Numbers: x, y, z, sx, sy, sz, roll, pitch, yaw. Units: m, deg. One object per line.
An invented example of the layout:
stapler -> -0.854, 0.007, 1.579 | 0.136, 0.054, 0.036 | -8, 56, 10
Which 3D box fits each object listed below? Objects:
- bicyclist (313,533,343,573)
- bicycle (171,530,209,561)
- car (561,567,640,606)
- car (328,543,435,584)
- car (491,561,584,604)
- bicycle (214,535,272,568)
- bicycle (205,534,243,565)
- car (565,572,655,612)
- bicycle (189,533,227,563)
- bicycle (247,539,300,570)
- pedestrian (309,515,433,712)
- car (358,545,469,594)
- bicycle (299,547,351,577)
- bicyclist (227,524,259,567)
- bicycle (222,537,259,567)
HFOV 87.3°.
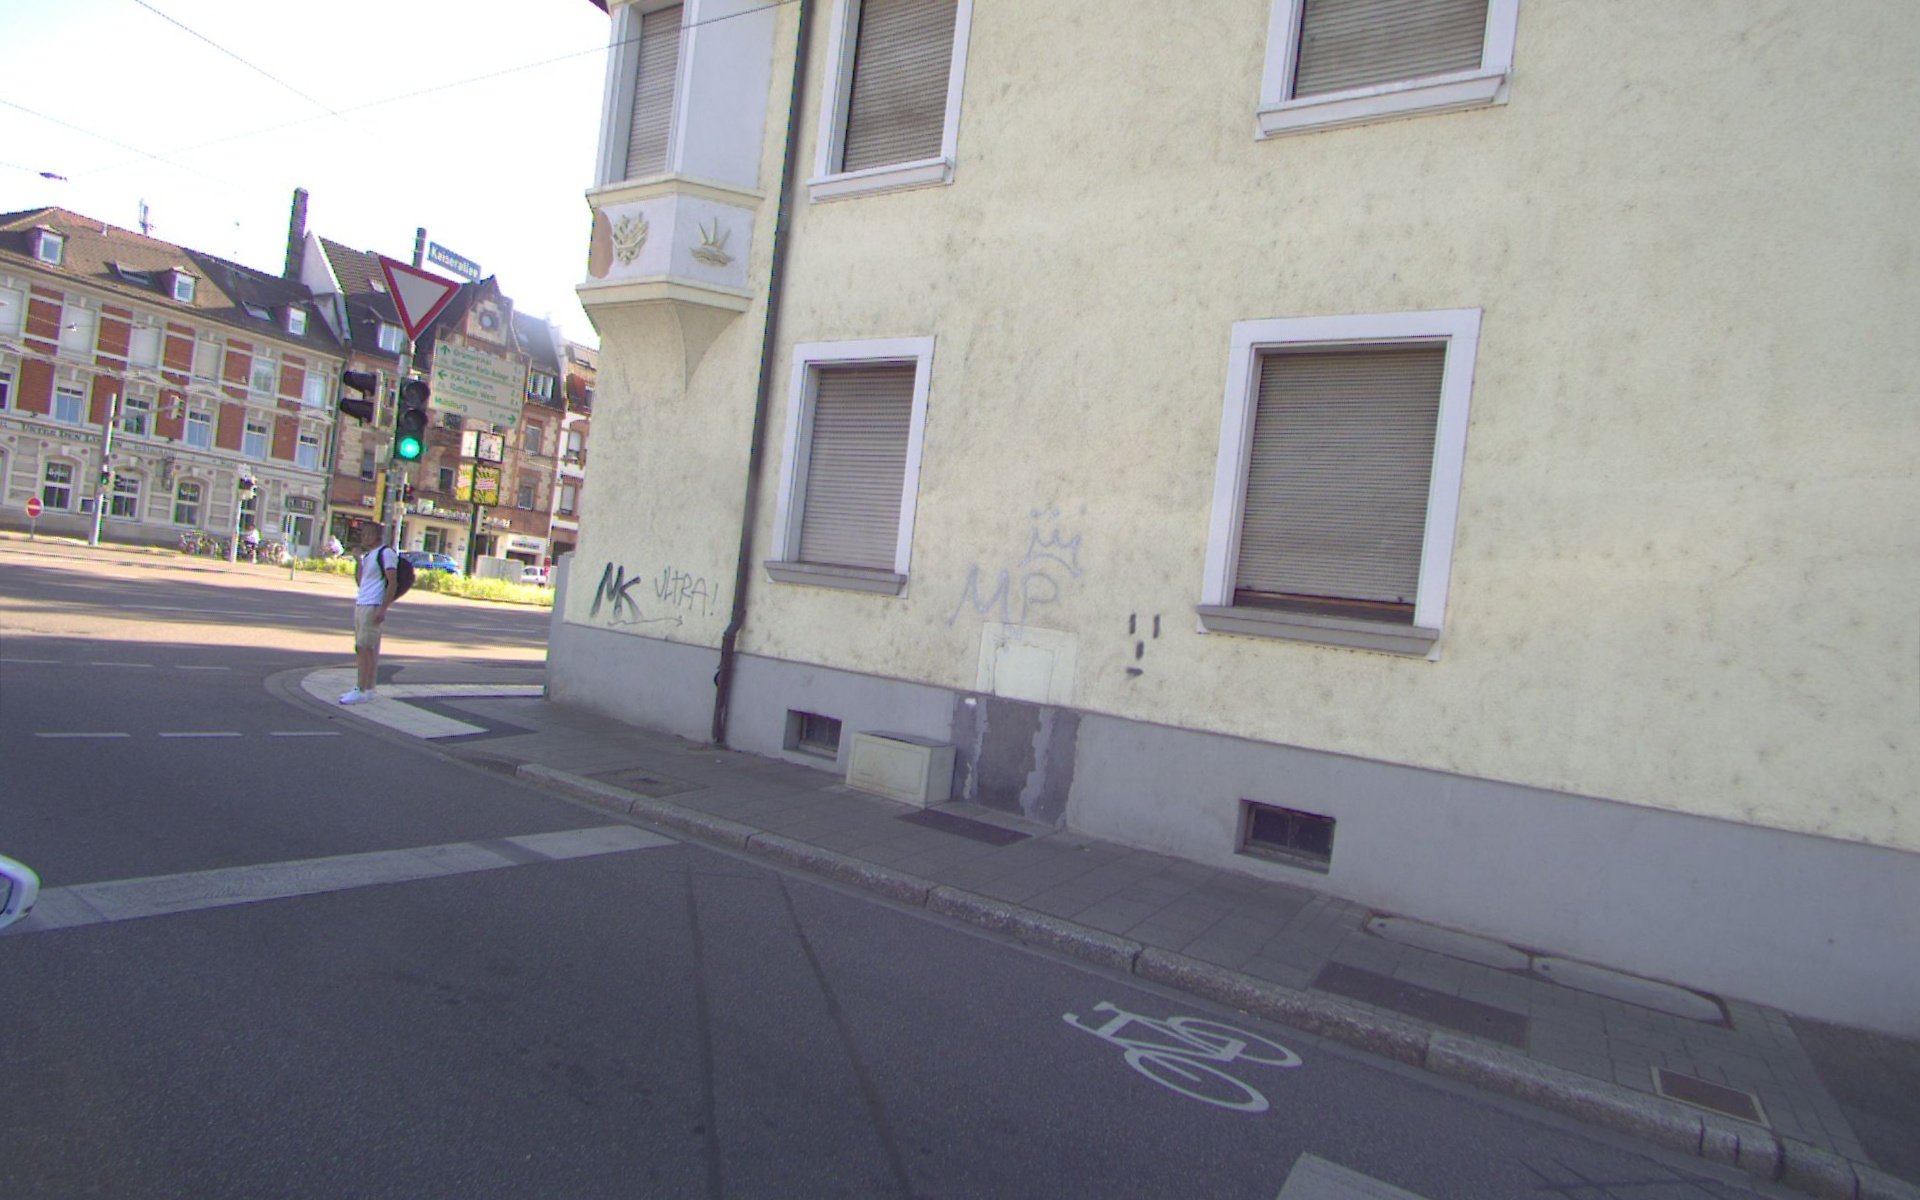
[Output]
bicyclist -> -30.730, -2.293, 48.908 | 0.592, 1.785, 0.903 | 7, 0, 37
bicycle -> -34.877, -2.477, 45.579 | 1.935, 1.205, 0.678 | 7, 0, 33
car -> -23.233, -0.836, 65.192 | 1.922, 1.988, 4.411 | 7, -1, 31
car -> -27.822, -1.737, 48.474 | 1.815, 1.429, 3.993 | 7, -1, 31
car -> -21.913, -0.897, 52.341 | 1.922, 1.688, 3.993 | 7, -1, 31
bicycle -> -32.389, -2.180, 45.464 | 0.592, 1.205, 1.962 | 7, -1, 34
bicycle -> -34.197, -2.354, 46.748 | 1.935, 1.205, 0.678 | 7, 0, 33
car -> -19.545, -0.411, 56.352 | 1.922, 1.687, 4.480 | 7, -1, 31
bicycle -> -34.537, -2.392, 46.192 | 1.935, 1.205, 0.678 | 7, 0, 33
bicycle -> -32.866, -2.159, 48.172 | 0.667, 1.205, 1.968 | 7, -1, 20
pedestrian -> -5.618, 0.122, 9.625 | 0.661, 1.764, 0.689 | 5, 2, 4
car -> -25.396, -1.377, 46.838 | 1.922, 1.688, 3.993 | 7, -1, 31
bicycle -> -30.835, -1.829, 48.861 | 0.592, 1.205, 1.961 | 7, -1, 37
bicyclist -> -32.386, -2.448, 45.416 | 0.592, 1.785, 0.873 | 7, 0, 34
bicycle -> -33.843, -2.276, 47.321 | 1.935, 1.205, 0.678 | 7, 0, 33
